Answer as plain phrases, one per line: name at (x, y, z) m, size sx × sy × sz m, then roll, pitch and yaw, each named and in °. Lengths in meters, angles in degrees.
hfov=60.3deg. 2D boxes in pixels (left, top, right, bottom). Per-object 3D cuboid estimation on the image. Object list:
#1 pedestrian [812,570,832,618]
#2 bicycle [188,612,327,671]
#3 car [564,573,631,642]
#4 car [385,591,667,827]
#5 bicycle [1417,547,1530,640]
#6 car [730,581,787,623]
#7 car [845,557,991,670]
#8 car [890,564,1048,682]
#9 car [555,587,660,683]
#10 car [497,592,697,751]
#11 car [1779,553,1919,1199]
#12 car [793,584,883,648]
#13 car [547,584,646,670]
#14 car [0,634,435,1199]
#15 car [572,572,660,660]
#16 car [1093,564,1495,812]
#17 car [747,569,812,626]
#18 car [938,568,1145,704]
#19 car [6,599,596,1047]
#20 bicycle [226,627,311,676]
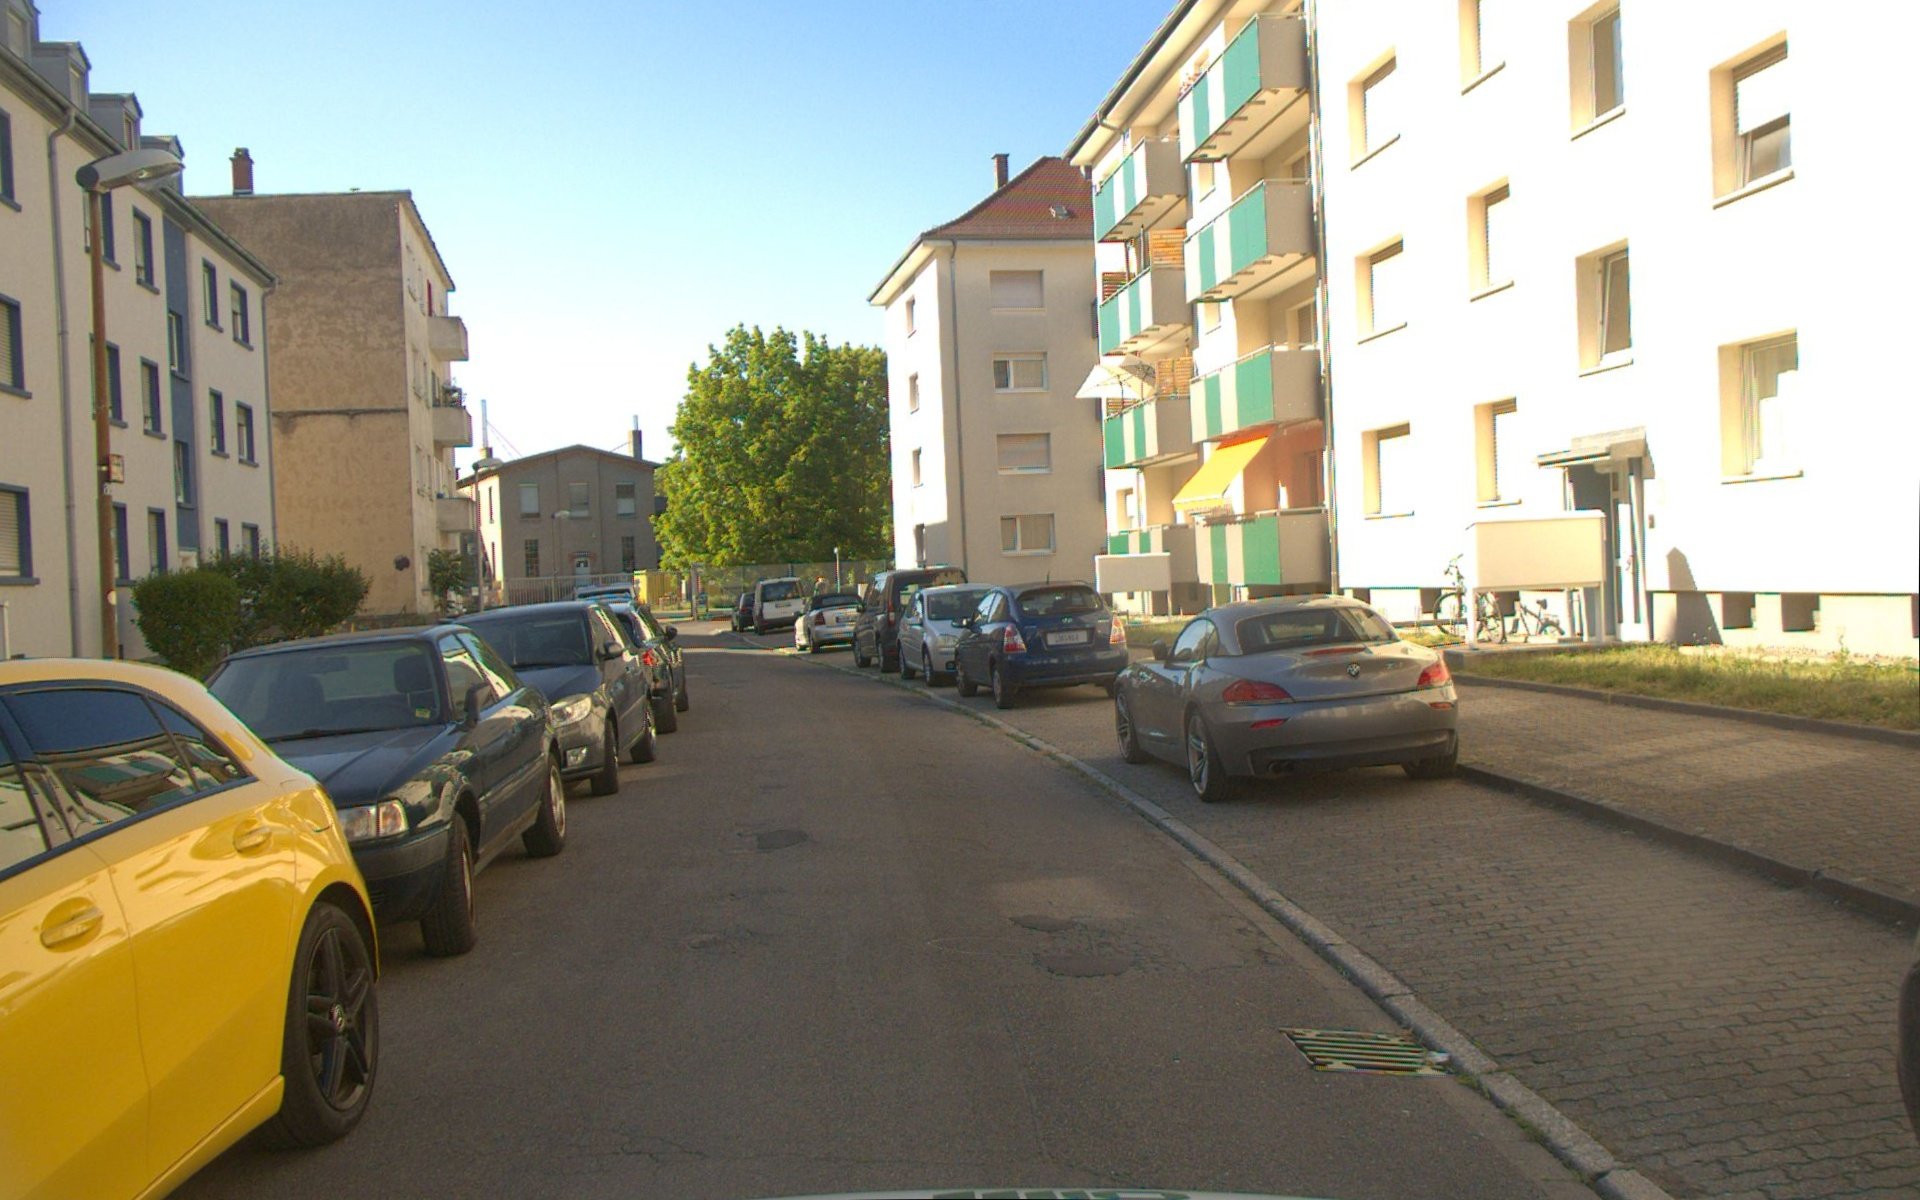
pedestrian at (-5.432, -0.226, 65.182) m, size 0.641 × 1.847 × 0.614 m, roll -5°, pitch 0°, yaw -2°
bicycle at (-14.771, 0.862, 34.859) m, size 2.628 × 1.150 × 0.769 m, roll -1°, pitch 0°, yaw -19°
car at (-12.088, 0.247, 55.228) m, size 1.959 × 2.048 × 4.440 m, roll -5°, pitch 1°, yaw -12°
car at (-3.411, 0.761, 13.606) m, size 1.450 × 1.502 × 3.628 m, roll -7°, pitch 1°, yaw -4°
bicycle at (6.715, -0.106, 21.714) m, size 0.638 × 1.086 × 1.730 m, roll -8°, pitch 3°, yaw -8°
car at (-7.690, 0.078, 62.805) m, size 1.735 × 1.385 × 4.082 m, roll -5°, pitch 1°, yaw -12°
car at (-0.878, 0.262, 31.374) m, size 1.864 × 1.887 × 4.329 m, roll -4°, pitch 0°, yaw -13°
car at (0.063, 0.322, 26.300) m, size 1.652 × 1.615 × 4.001 m, roll -4°, pitch 1°, yaw -11°
car at (-6.346, 0.594, 29.845) m, size 1.630 × 1.468 × 3.859 m, roll -5°, pitch 1°, yaw -12°
car at (-4.074, 0.721, 19.204) m, size 1.711 × 1.455 × 4.591 m, roll -6°, pitch 1°, yaw -7°
car at (2.921, 0.628, 2.016) m, size 1.701 × 1.534 × 3.884 m, roll -6°, pitch 1°, yaw -2°
car at (-3.126, 0.379, 41.702) m, size 1.687 × 1.387 × 4.043 m, roll -5°, pitch 1°, yaw -11°
car at (-7.633, 0.541, 34.775) m, size 1.801 × 1.541 × 3.987 m, roll -5°, pitch 1°, yaw -12°
car at (-2.453, 0.922, 3.069) m, size 1.660 × 1.413 × 4.155 m, roll -4°, pitch 1°, yaw -2°
car at (-8.308, 0.391, 39.968) m, size 1.863 × 1.887 × 4.182 m, roll -4°, pitch 0°, yaw -12°
car at (2.277, 0.525, 12.480) m, size 1.654 × 1.386 × 4.234 m, roll -6°, pitch 1°, yaw -6°
car at (-6.319, -0.088, 57.446) m, size 1.735 × 1.769 × 4.082 m, roll -5°, pitch 1°, yaw -12°
car at (0.951, 0.422, 21.734) m, size 1.707 × 1.456 × 4.346 m, roll -5°, pitch 1°, yaw -10°
car at (-2.959, 0.840, 8.417) m, size 1.539 × 1.489 × 4.257 m, roll -5°, pitch 1°, yaw -5°
bicycle at (-15.612, 1.156, 37.390) m, size 1.617 × 0.952 × 0.546 m, roll -5°, pitch 1°, yaw -10°
